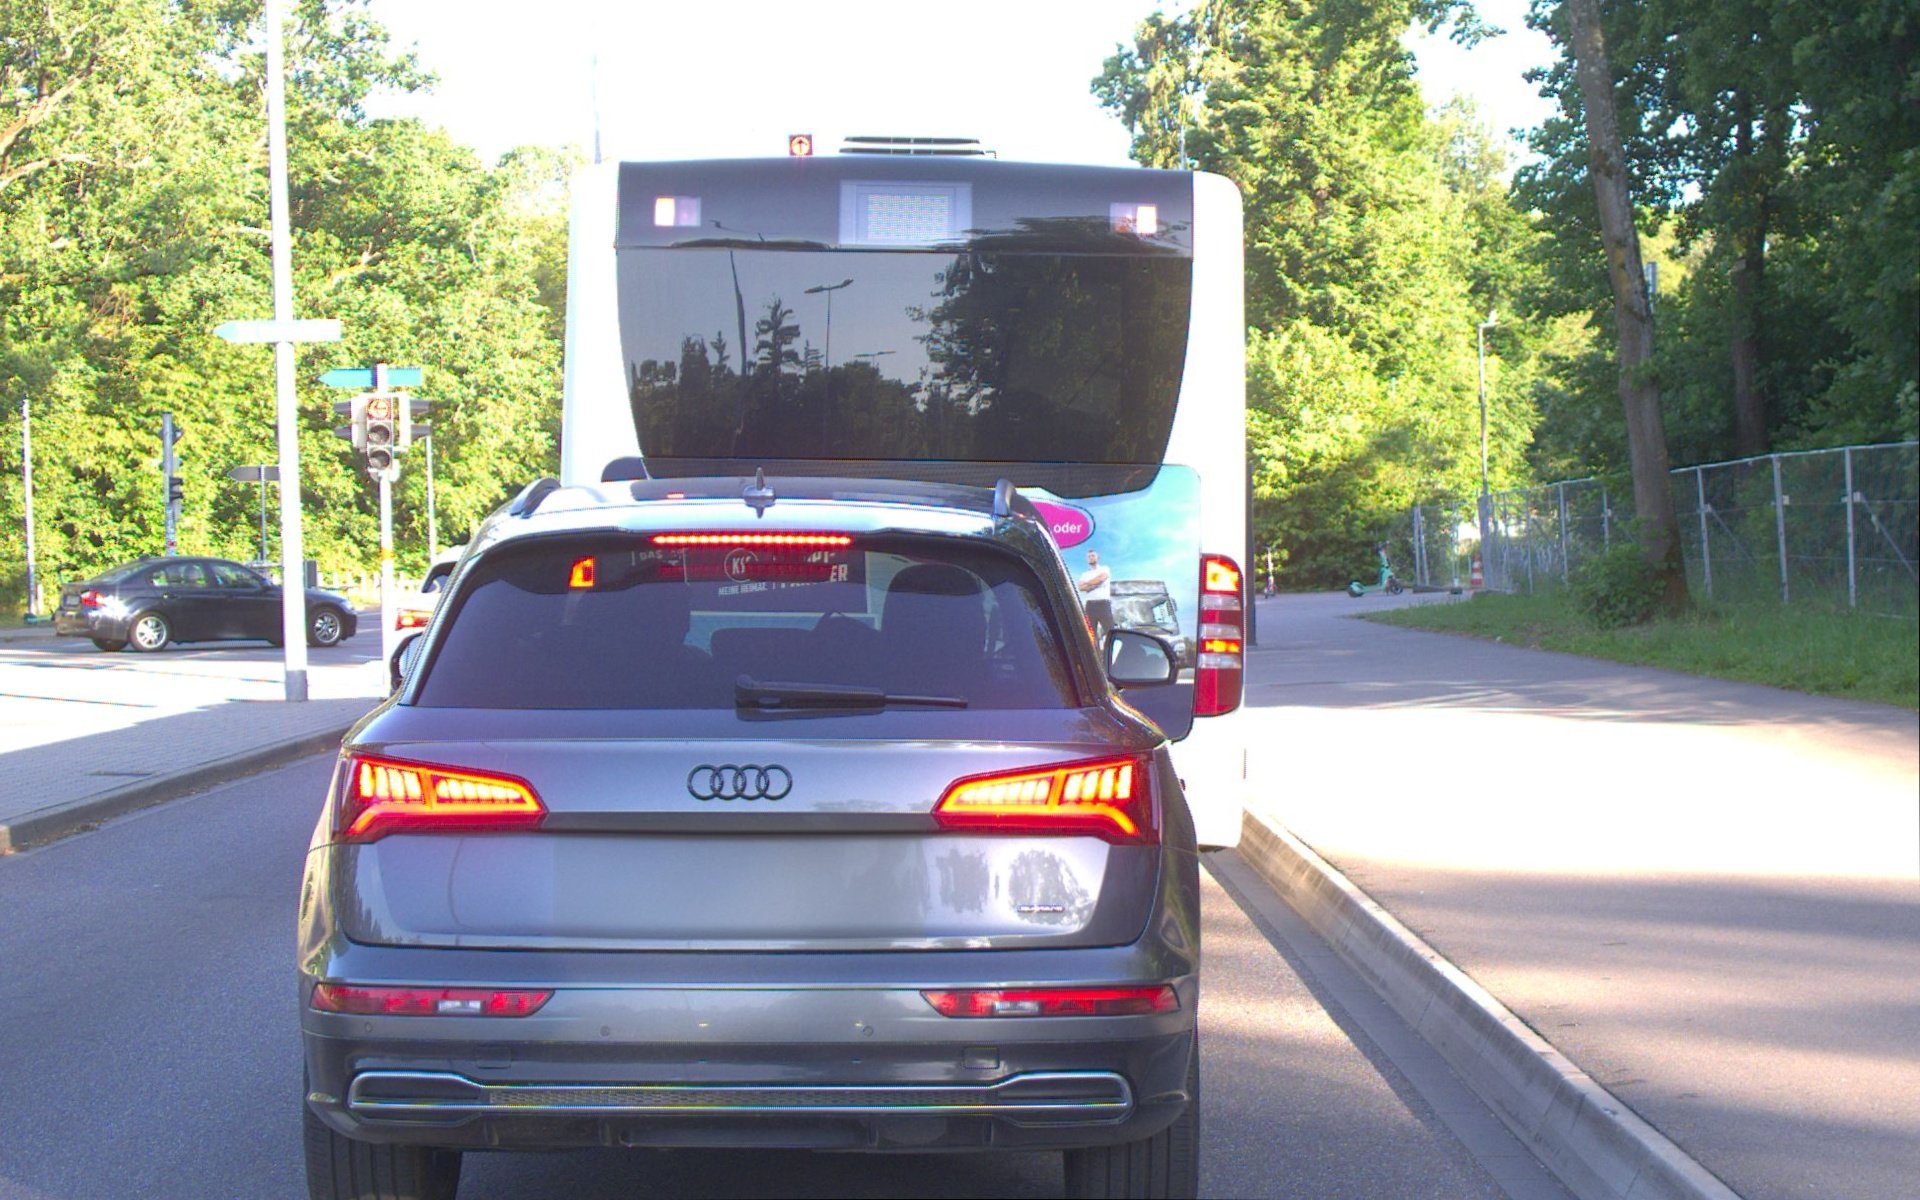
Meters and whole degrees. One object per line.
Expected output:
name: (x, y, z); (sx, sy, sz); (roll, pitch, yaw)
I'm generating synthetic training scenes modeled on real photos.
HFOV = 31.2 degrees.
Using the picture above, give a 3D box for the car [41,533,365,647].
car: (-11.340, -0.144, 51.573); (4.314, 1.646, 2.000); (0, 1, -31)

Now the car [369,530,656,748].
car: (-3.504, 0.247, 27.559); (1.808, 1.567, 4.000); (1, 2, -1)

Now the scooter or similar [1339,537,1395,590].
scooter or similar: (9.237, -0.823, 78.018); (1.184, 1.170, 0.659); (1, 1, 11)

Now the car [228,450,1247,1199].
car: (-0.437, 0.510, 8.365); (1.868, 1.658, 4.000); (1, 2, -1)

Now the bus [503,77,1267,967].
bus: (-0.240, -0.355, 15.175); (2.678, 3.131, 5.882); (1, 2, 1)
